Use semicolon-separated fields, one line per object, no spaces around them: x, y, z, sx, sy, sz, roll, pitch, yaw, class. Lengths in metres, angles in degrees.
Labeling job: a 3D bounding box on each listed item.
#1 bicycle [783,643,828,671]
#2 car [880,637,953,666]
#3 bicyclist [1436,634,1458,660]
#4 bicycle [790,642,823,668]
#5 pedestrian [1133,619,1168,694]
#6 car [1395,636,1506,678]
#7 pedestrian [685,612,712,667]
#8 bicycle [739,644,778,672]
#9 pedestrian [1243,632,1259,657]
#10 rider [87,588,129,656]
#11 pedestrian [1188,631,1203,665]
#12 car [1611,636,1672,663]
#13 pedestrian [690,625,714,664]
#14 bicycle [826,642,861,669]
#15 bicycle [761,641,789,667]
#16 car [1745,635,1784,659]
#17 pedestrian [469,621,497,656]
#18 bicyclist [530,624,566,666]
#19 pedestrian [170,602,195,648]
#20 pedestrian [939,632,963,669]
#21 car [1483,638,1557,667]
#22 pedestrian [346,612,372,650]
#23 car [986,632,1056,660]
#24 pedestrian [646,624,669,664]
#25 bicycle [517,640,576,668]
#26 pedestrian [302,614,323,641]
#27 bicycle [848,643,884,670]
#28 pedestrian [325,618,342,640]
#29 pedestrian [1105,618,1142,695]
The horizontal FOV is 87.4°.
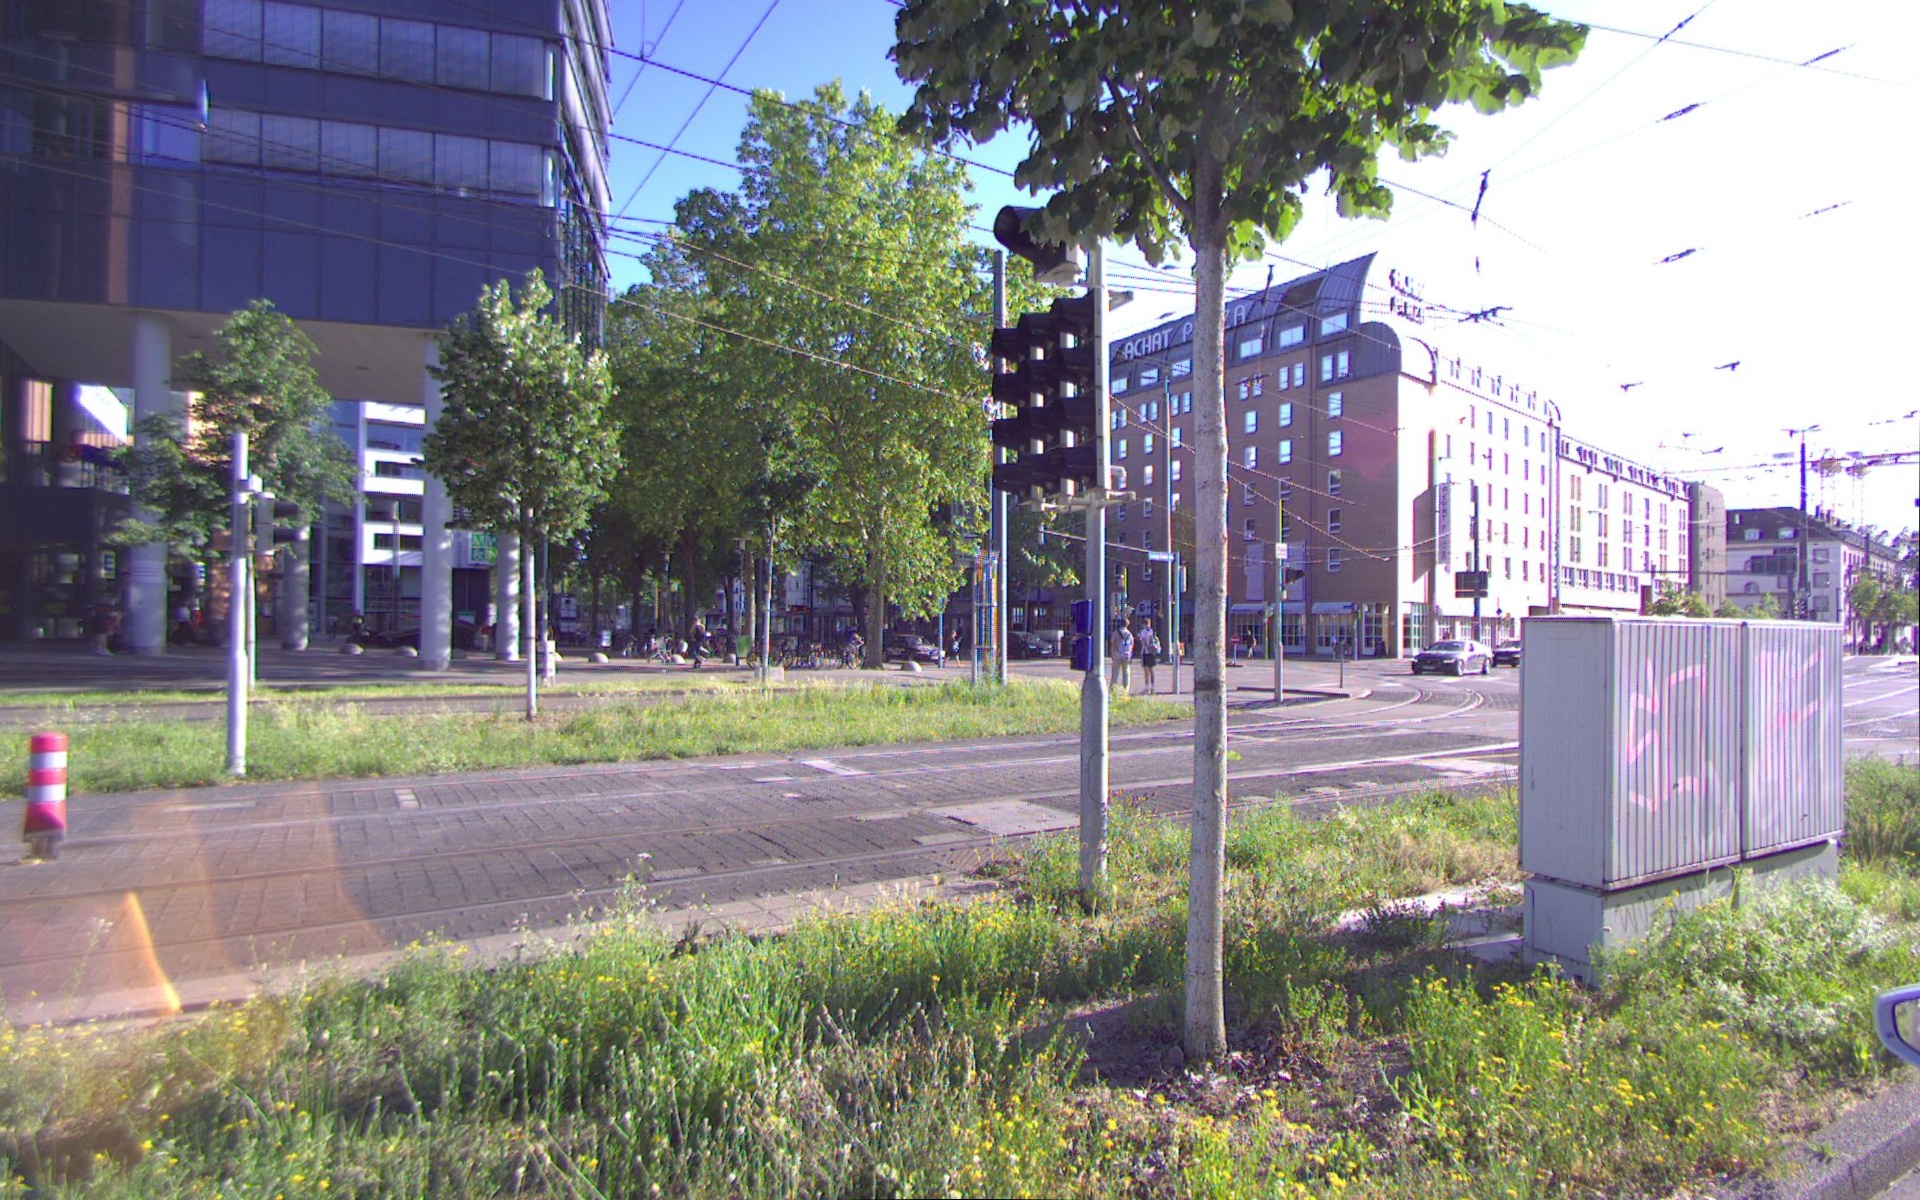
-5.686;2.096;36.979;1.742;0.964;0.540;0;-1;34;bicycle
-2.177;2.495;49.328;1.977;1.283;3.968;1;-2;-30;car
26.395;2.559;54.419;0.942;1.393;0.752;2;-1;-37;bicyclist
-5.902;2.101;38.569;0.536;0.964;1.753;2;-2;-36;bicycle
4.765;1.396;25.110;0.656;1.841;0.559;1;-1;-36;pedestrian
20.110;2.311;41.141;4.687;1.617;1.982;2;-2;-33;car
-9.888;1.489;38.036;0.826;2.040;0.730;1;0;-25;pedestrian
-7.426;2.126;36.961;0.538;0.964;1.748;2;-2;-44;bicycle
18.187;2.791;62.828;0.652;1.523;0.672;1;-1;-33;pedestrian
-23.141;0.596;27.298;0.704;1.826;0.715;1;-1;-29;rider
14.390;2.906;61.364;0.669;2.040;0.663;1;-1;-29;pedestrian
38.761;2.775;57.106;3.960;1.468;1.563;2;-2;-35;car
-10.861;1.861;42.212;0.826;1.619;0.730;1;0;-25;pedestrian
-4.426;2.093;38.008;0.536;0.964;1.753;2;-2;-36;bicycle
-7.074;2.049;38.401;0.530;0.964;1.772;1;-1;7;bicycle
53.365;3.091;66.611;1.726;1.524;3.858;-1;-2;43;car
-24.081;1.920;50.739;1.091;1.730;0.789;1;0;-13;pedestrian
-14.588;1.586;35.561;0.998;1.484;0.679;1;-1;-8;bicyclist
-25.860;0.822;33.429;0.566;1.500;0.450;1;0;-30;pedestrian
-0.399;2.253;44.935;0.832;1.619;0.692;1;0;-33;pedestrian
28.865;2.684;51.749;4.104;1.440;1.711;2;-4;-36;car
-27.787;1.442;46.448;0.794;1.730;0.789;1;0;-13;pedestrian
3.327;2.513;55.147;1.743;1.439;3.960;2;-2;-35;car
-12.794;1.863;42.485;0.826;1.667;0.730;1;-1;-25;pedestrian
-14.627;1.901;35.546;1.854;0.922;0.499;-1;-1;-10;bicycle
-37.776;1.598;58.607;0.647;1.500;1.053;1;0;-13;pedestrian
-3.598;2.136;38.200;0.536;0.964;1.753;2;-2;-36;bicycle
-37.392;1.720;59.962;0.651;1.294;0.636;1;0;-13;pedestrian
4.001;1.372;24.571;0.656;1.854;0.627;1;-1;-36;pedestrian
